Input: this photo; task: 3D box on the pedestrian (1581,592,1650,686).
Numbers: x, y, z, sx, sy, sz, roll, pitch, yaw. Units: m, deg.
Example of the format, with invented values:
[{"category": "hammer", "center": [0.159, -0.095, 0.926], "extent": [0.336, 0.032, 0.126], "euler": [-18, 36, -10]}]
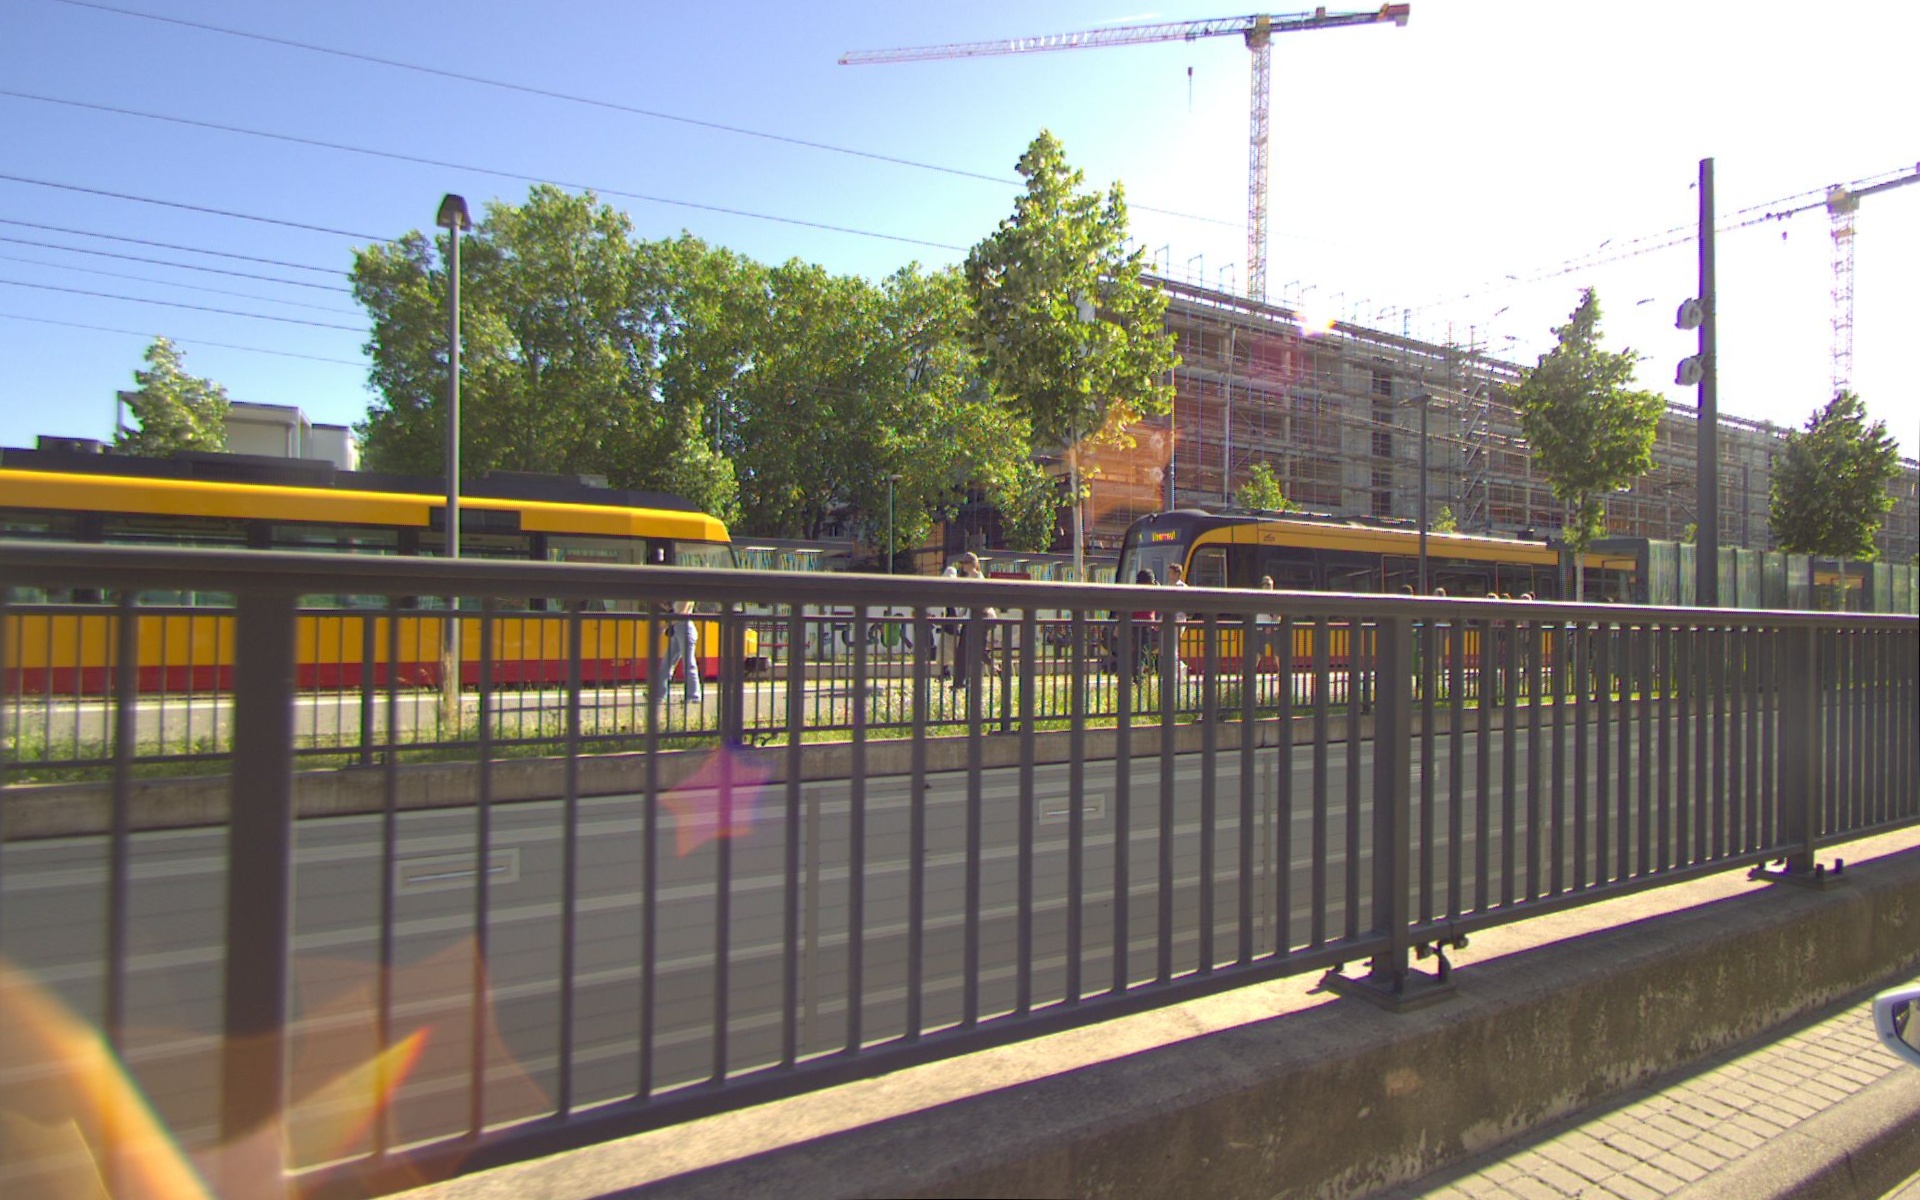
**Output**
[{"category": "pedestrian", "center": [11.848, 0.695, 18.152], "extent": [0.851, 1.650, 0.738], "euler": [1, -1, -29]}]

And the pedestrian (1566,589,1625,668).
[{"category": "pedestrian", "center": [13.593, 0.612, 21.492], "extent": [0.851, 1.650, 0.738], "euler": [1, -1, -29]}]

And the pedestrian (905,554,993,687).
[{"category": "pedestrian", "center": [-0.160, 0.301, 14.368], "extent": [1.062, 1.835, 0.668], "euler": [1, -1, -31]}]

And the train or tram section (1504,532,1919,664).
[{"category": "train or tram section", "center": [25.192, 0.112, 32.032], "extent": [21.883, 3.323, 2.856], "euler": [1, 1, -30]}]

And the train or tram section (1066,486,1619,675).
[{"category": "train or tram section", "center": [9.331, -0.233, 22.663], "extent": [15.006, 3.323, 2.856], "euler": [1, 1, -30]}]

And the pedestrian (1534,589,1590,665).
[{"category": "pedestrian", "center": [13.333, 0.597, 22.261], "extent": [0.851, 1.650, 0.738], "euler": [1, -1, -29]}]

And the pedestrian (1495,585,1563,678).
[{"category": "pedestrian", "center": [10.417, 0.571, 18.393], "extent": [0.851, 1.650, 0.738], "euler": [1, -1, -29]}]

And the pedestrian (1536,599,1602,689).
[{"category": "pedestrian", "center": [11.463, 0.821, 18.898], "extent": [0.851, 1.650, 0.738], "euler": [1, -1, -29]}]

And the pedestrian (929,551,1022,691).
[{"category": "pedestrian", "center": [0.205, 0.290, 13.710], "extent": [1.019, 1.835, 0.766], "euler": [1, -1, -31]}]

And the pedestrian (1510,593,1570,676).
[{"category": "pedestrian", "center": [11.772, 0.698, 20.395], "extent": [0.851, 1.650, 0.738], "euler": [1, -1, -29]}]

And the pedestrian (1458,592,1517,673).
[{"category": "pedestrian", "center": [11.008, 0.666, 20.963], "extent": [0.851, 1.650, 0.738], "euler": [1, -1, -29]}]

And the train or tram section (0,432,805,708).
[{"category": "train or tram section", "center": [-10.233, -0.352, 14.709], "extent": [15.778, 3.366, 2.834], "euler": [1, 1, -30]}]

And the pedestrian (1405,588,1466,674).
[{"category": "pedestrian", "center": [9.455, 0.610, 19.982], "extent": [0.851, 1.650, 0.738], "euler": [1, -1, -29]}]

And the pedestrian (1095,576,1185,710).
[{"category": "pedestrian", "center": [2.302, 0.543, 12.891], "extent": [0.851, 1.650, 0.738], "euler": [1, -1, -29]}]

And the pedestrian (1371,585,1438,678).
[{"category": "pedestrian", "center": [8.086, 0.570, 18.280], "extent": [0.851, 1.650, 0.738], "euler": [1, -1, -29]}]

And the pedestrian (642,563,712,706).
[{"category": "pedestrian", "center": [-3.170, 0.369, 11.237], "extent": [0.582, 1.533, 0.643], "euler": [0, 1, -32]}]

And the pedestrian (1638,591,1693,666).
[{"category": "pedestrian", "center": [15.974, 0.637, 22.746], "extent": [0.851, 1.650, 0.738], "euler": [1, -1, -29]}]

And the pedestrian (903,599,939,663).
[{"category": "pedestrian", "center": [-1.008, 0.805, 25.807], "extent": [0.675, 1.614, 0.652], "euler": [1, -1, -32]}]

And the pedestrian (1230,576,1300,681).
[{"category": "pedestrian", "center": [5.130, 0.481, 16.904], "extent": [0.851, 1.717, 0.738], "euler": [1, -1, -29]}]

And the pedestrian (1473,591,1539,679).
[{"category": "pedestrian", "center": [10.499, 0.672, 19.318], "extent": [0.935, 1.650, 0.738], "euler": [1, -1, -29]}]

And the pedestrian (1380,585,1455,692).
[{"category": "pedestrian", "center": [7.284, 0.609, 16.004], "extent": [0.851, 1.650, 0.738], "euler": [1, -1, -29]}]

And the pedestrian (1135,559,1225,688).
[{"category": "pedestrian", "center": [3.332, 0.351, 15.254], "extent": [0.995, 1.875, 0.883], "euler": [1, -1, -30]}]
